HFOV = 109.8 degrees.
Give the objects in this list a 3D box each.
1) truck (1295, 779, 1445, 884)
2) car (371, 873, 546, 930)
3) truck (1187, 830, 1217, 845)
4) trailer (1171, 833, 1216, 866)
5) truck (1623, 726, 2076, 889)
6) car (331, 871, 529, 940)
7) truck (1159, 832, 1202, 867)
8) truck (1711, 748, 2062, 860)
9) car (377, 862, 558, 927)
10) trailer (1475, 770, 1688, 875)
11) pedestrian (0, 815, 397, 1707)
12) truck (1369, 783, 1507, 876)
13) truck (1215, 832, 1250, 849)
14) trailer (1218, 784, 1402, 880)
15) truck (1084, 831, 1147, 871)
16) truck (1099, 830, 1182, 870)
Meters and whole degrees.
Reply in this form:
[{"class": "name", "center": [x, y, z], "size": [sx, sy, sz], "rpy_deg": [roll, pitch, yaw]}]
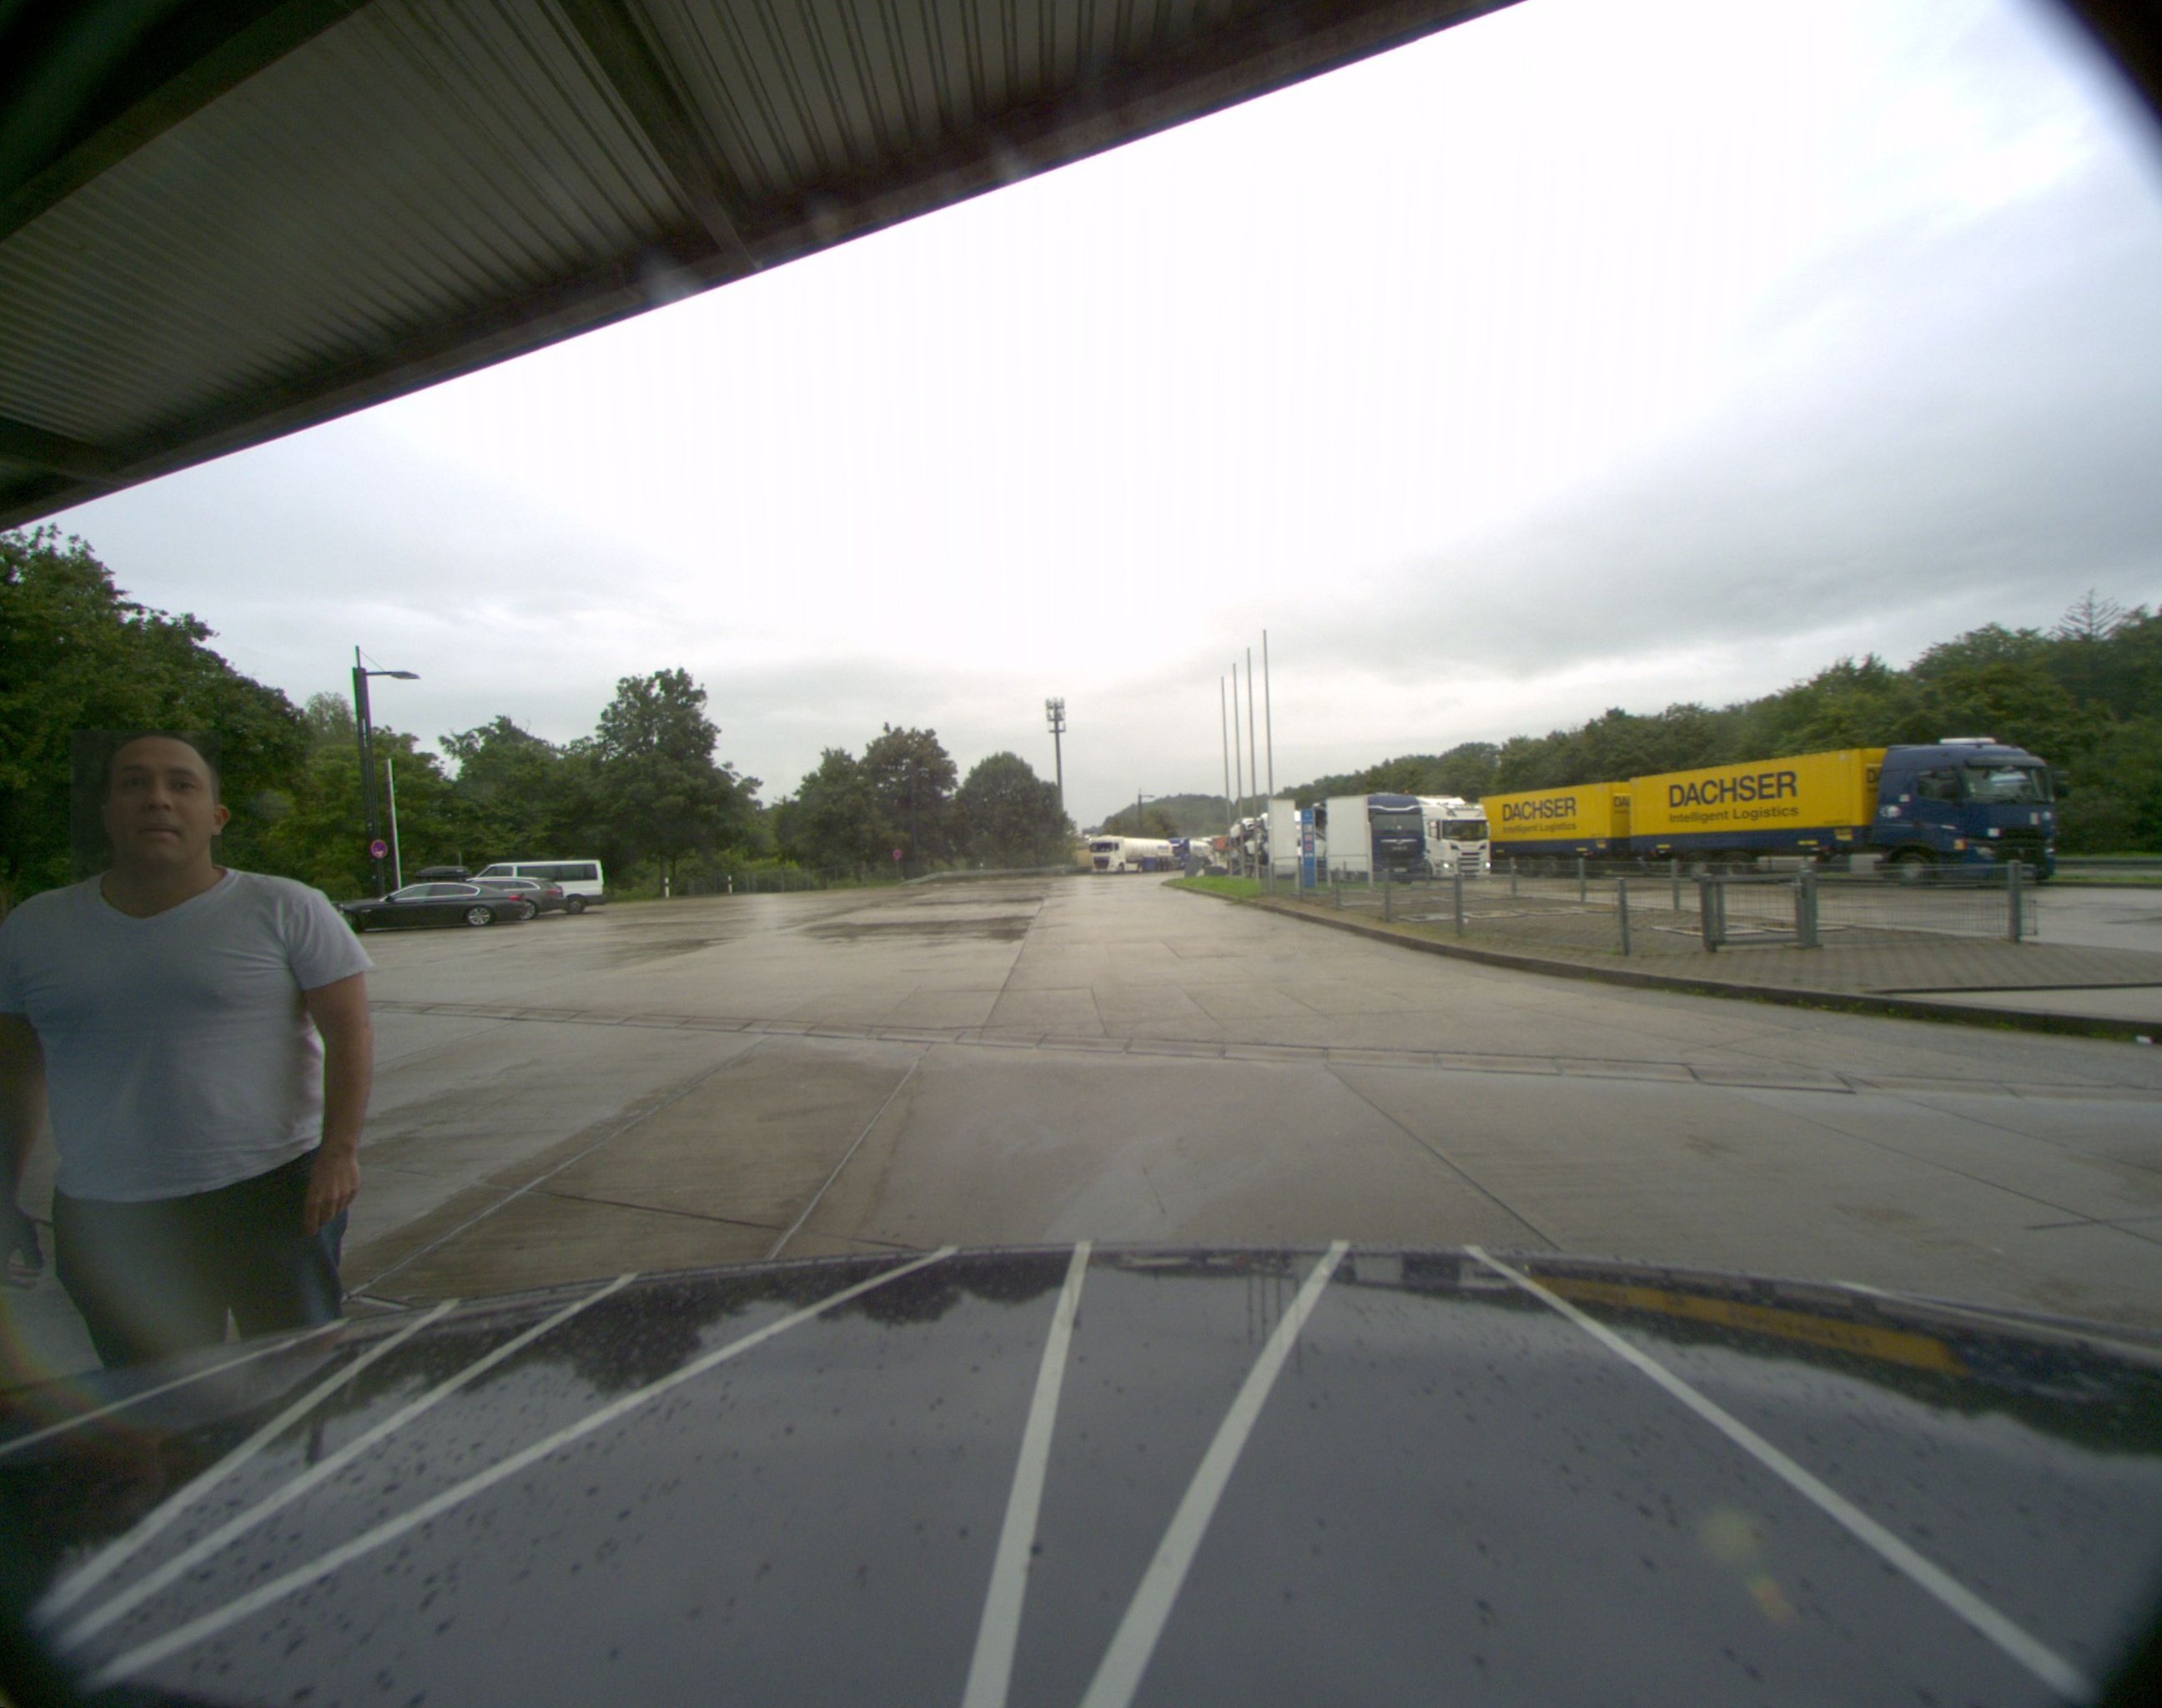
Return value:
[{"class": "truck", "center": [12.299, -0.920, 33.231], "size": [2.990, 4.009, 7.259], "rpy_deg": [-2, 1, -7]}, {"class": "car", "center": [-20.185, 1.472, 24.930], "size": [4.187, 1.547, 1.995], "rpy_deg": [-2, 0, -33]}, {"class": "truck", "center": [31.127, -4.176, 196.714], "size": [3.251, 3.543, 16.548], "rpy_deg": [-2, 1, -7]}, {"class": "trailer", "center": [13.668, -0.647, 91.425], "size": [2.898, 3.618, 10.586], "rpy_deg": [-2, 1, 22]}, {"class": "truck", "center": [23.056, -1.212, 24.292], "size": [2.774, 4.009, 10.632], "rpy_deg": [-2, 1, -8]}, {"class": "car", "center": [-19.126, 1.451, 22.627], "size": [4.187, 1.720, 1.995], "rpy_deg": [-2, 0, -33]}, {"class": "truck", "center": [11.327, -0.520, 85.718], "size": [3.045, 3.745, 6.475], "rpy_deg": [-2, 1, 23]}, {"class": "truck", "center": [33.768, -1.873, 32.914], "size": [2.991, 4.009, 10.464], "rpy_deg": [-2, 1, -10]}, {"class": "car", "center": [-21.494, 1.342, 26.931], "size": [4.780, 1.974, 2.010], "rpy_deg": [-2, 0, -36]}, {"class": "trailer", "center": [21.780, -1.272, 33.975], "size": [2.774, 4.009, 8.853], "rpy_deg": [-2, 1, -8]}, {"class": "pedestrian", "center": [-1.890, 0.839, 1.503], "size": [0.635, 1.800, 0.493], "rpy_deg": [-4, 3, -34]}, {"class": "truck", "center": [17.145, -1.129, 37.128], "size": [2.990, 4.009, 6.738], "rpy_deg": [-2, 1, -6]}, {"class": "truck", "center": [34.132, -2.892, 171.973], "size": [3.251, 3.543, 14.657], "rpy_deg": [-2, 0, -7]}, {"class": "trailer", "center": [11.371, -0.996, 40.923], "size": [2.990, 4.009, 16.597], "rpy_deg": [-2, 1, -7]}, {"class": "truck", "center": [3.314, -0.352, 71.422], "size": [3.243, 3.544, 6.114], "rpy_deg": [-2, 1, 31]}, {"class": "truck", "center": [6.198, -0.519, 76.334], "size": [3.243, 3.544, 11.995], "rpy_deg": [-2, 1, 31]}]
